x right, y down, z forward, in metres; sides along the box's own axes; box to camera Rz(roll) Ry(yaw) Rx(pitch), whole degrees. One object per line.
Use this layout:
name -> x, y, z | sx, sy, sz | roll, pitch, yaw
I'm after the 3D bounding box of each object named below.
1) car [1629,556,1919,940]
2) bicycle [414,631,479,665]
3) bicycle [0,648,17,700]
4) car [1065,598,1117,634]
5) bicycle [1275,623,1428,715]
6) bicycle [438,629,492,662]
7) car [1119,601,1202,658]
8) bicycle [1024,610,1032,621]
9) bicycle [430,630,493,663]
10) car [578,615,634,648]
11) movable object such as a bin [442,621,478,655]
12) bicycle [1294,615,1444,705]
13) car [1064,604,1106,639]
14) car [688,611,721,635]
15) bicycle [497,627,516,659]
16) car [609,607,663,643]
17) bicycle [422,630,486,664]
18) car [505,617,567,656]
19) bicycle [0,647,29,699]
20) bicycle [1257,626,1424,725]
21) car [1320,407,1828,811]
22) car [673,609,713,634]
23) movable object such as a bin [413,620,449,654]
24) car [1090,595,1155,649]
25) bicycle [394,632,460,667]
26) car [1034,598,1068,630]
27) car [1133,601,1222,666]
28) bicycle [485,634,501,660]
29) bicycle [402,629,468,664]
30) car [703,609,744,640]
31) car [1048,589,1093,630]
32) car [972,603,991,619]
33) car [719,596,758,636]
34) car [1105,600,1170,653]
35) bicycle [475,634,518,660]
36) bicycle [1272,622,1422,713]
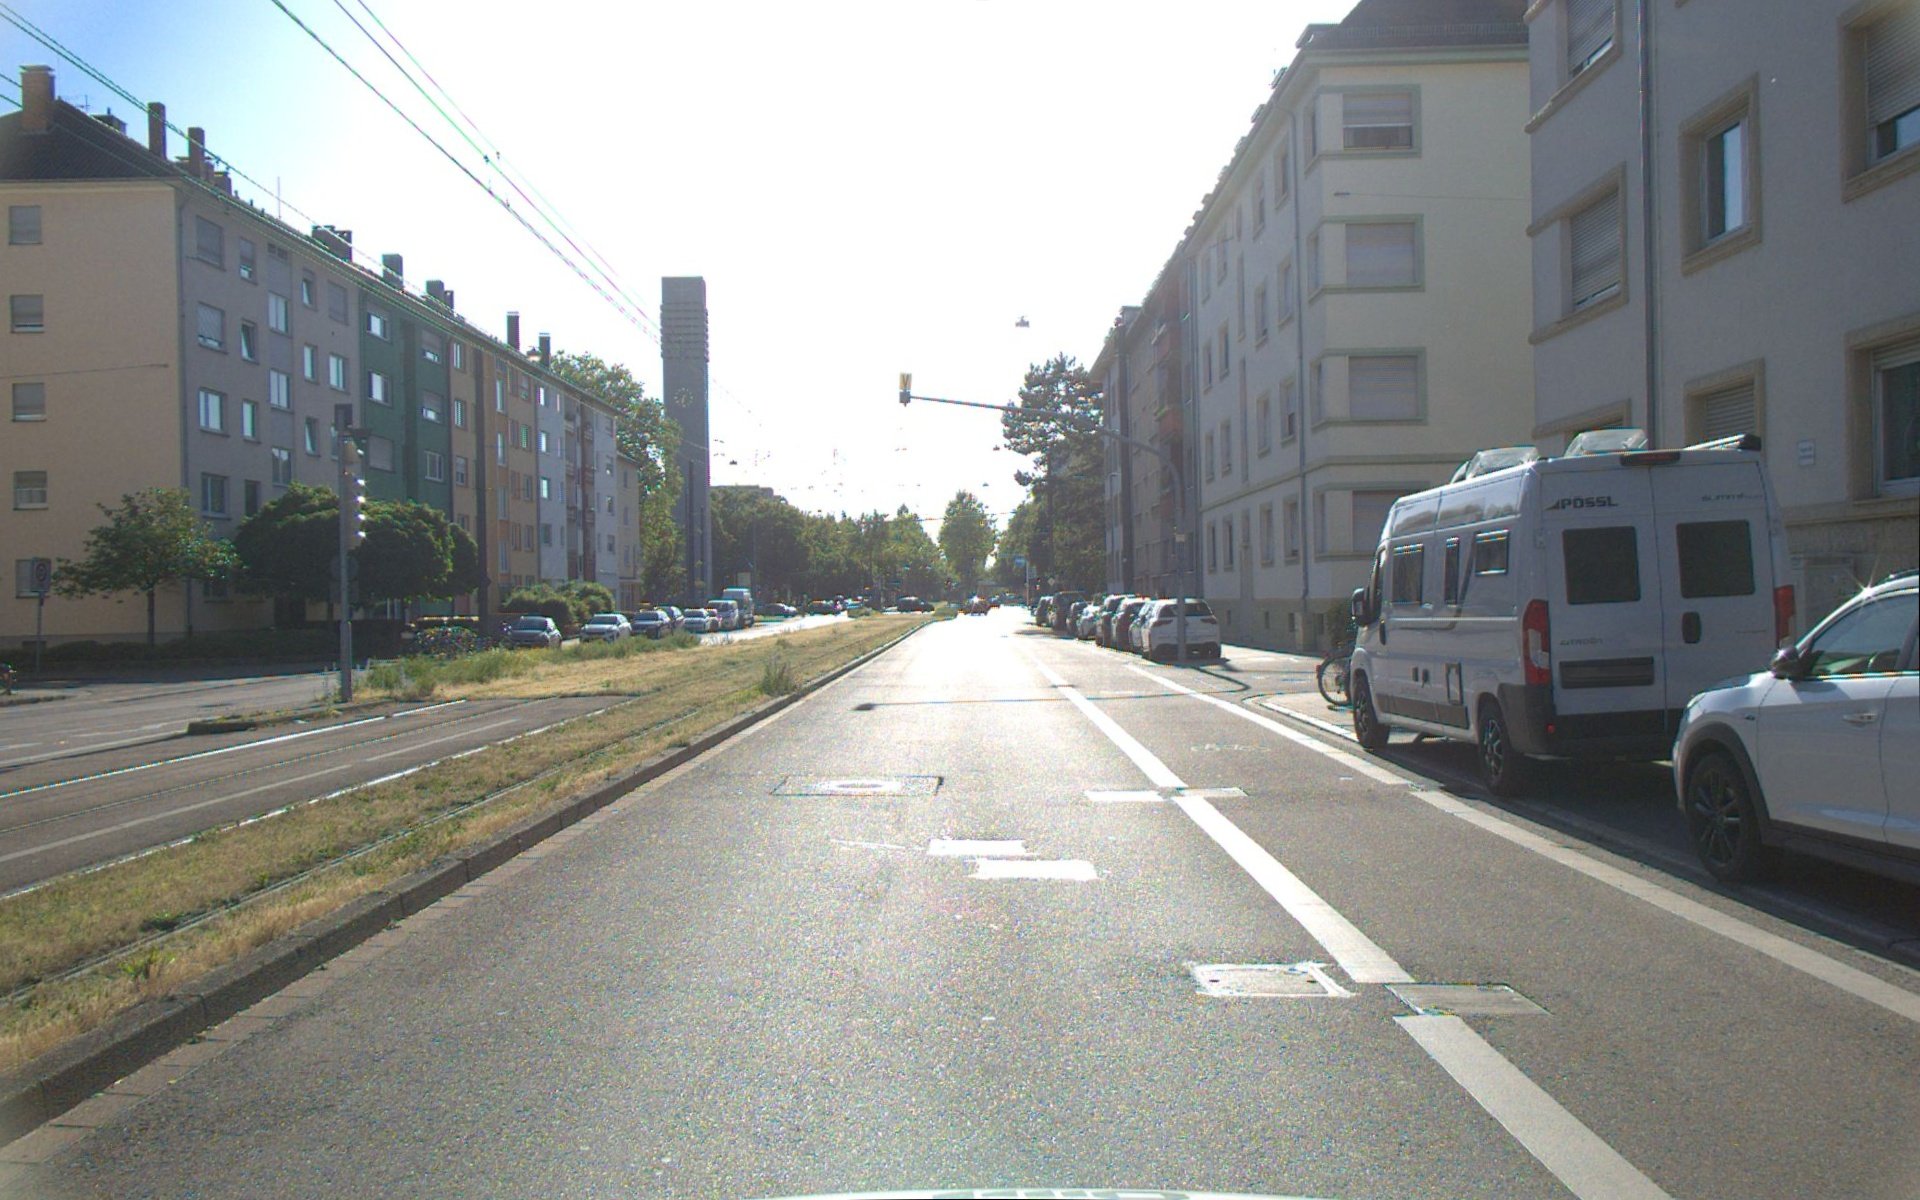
car -> 5.022, 0.603, 7.676 | 1.810, 1.666, 4.573 | -2, 0, -2
bicycle -> -17.585, 1.640, 56.656 | 2.004, 1.112, 0.616 | 1, 0, 6
bicycle -> -21.688, 1.605, 36.269 | 1.782, 1.125, 0.390 | 1, 0, 0
car -> 5.351, 0.640, 68.092 | 1.668, 1.297, 4.303 | -5, 0, -1
bicycle -> 4.895, 0.882, 20.767 | 1.885, 1.106, 0.470 | -3, -4, 44
bicycle -> -17.792, 1.624, 59.448 | 2.008, 1.112, 0.615 | 1, 0, 28
car -> 5.662, 0.800, 47.108 | 1.603, 1.484, 4.079 | -2, 0, -3
bicycle -> 6.273, 1.391, 152.439 | 0.634, 0.990, 1.804 | 1, 0, 3
bicycle -> -17.503, 1.630, 58.078 | 2.004, 1.112, 0.616 | 1, 0, 6
car -> -16.886, 1.483, 78.991 | 1.693, 1.480, 4.376 | 0, 0, 0
movable object such as a bin -> -21.262, 1.607, 70.359 | 1.123, 1.392, 1.039 | 1, -1, 3
bicycle -> 5.389, 0.806, 21.881 | 1.885, 1.105, 0.471 | -3, 1, 44
car -> 5.729, 0.962, 75.942 | 1.602, 1.479, 3.789 | -4, 0, 0
car -> -16.962, 1.534, 109.834 | 1.660, 1.541, 4.324 | 0, 0, -2
bicycle -> -16.564, 1.570, 60.395 | 0.500, 1.112, 1.931 | 1, 0, -11
car -> -17.438, 1.326, 89.211 | 1.952, 1.870, 4.609 | 1, 0, 0
bicycle -> -17.546, 1.643, 57.375 | 2.004, 1.112, 0.616 | 1, 0, 6
car -> -16.900, 1.440, 66.029 | 1.602, 1.467, 3.733 | 1, 0, -2
bicycle -> -21.679, 1.598, 36.704 | 1.782, 1.125, 0.390 | 1, 0, 0
bicycle -> 4.629, 0.896, 20.231 | 1.991, 1.106, 0.484 | 1, 0, 41
car -> 5.037, 0.062, 14.869 | 2.107, 2.743, 6.291 | -3, 0, 0
car -> -16.769, 1.343, 103.948 | 1.854, 1.517, 4.702 | 1, 0, -2
movable object such as a bin -> -22.530, 1.578, 70.414 | 1.123, 1.392, 1.039 | 1, -1, 3
car -> 5.597, 0.741, 57.484 | 1.603, 1.676, 4.372 | -4, 0, -2
bicycle -> -17.758, 1.639, 55.122 | 2.004, 1.112, 0.616 | 1, 0, 6
car -> 5.627, 0.847, 102.299 | 1.840, 1.746, 4.934 | -4, 0, 1
car -> 5.378, 0.792, 41.338 | 1.659, 1.484, 4.379 | -2, 0, 1
bicycle -> -17.032, 1.710, 60.324 | 0.369, 0.881, 2.049 | 1, 0, -11
bicycle -> -17.709, 1.575, 55.782 | 2.004, 1.112, 0.616 | 1, 0, 6
car -> -16.515, 1.656, 115.739 | 1.990, 2.056, 5.371 | 1, 0, 1
car -> 5.806, 0.498, 87.287 | 1.874, 1.932, 5.135 | -4, 0, 0
car -> 2.015, 1.066, 158.783 | 1.660, 1.535, 3.698 | 1, 0, -2
car -> -16.480, 1.152, 123.310 | 1.990, 2.919, 6.229 | 0, 0, 1
car -> 5.583, 0.820, 52.389 | 1.602, 1.544, 4.189 | -2, 0, 1
bicycle -> -16.791, 1.698, 59.945 | 1.550, 0.885, 0.417 | 1, 0, 23
bicycle -> 5.009, 0.880, 21.493 | 1.885, 1.106, 0.471 | -3, 0, 44
